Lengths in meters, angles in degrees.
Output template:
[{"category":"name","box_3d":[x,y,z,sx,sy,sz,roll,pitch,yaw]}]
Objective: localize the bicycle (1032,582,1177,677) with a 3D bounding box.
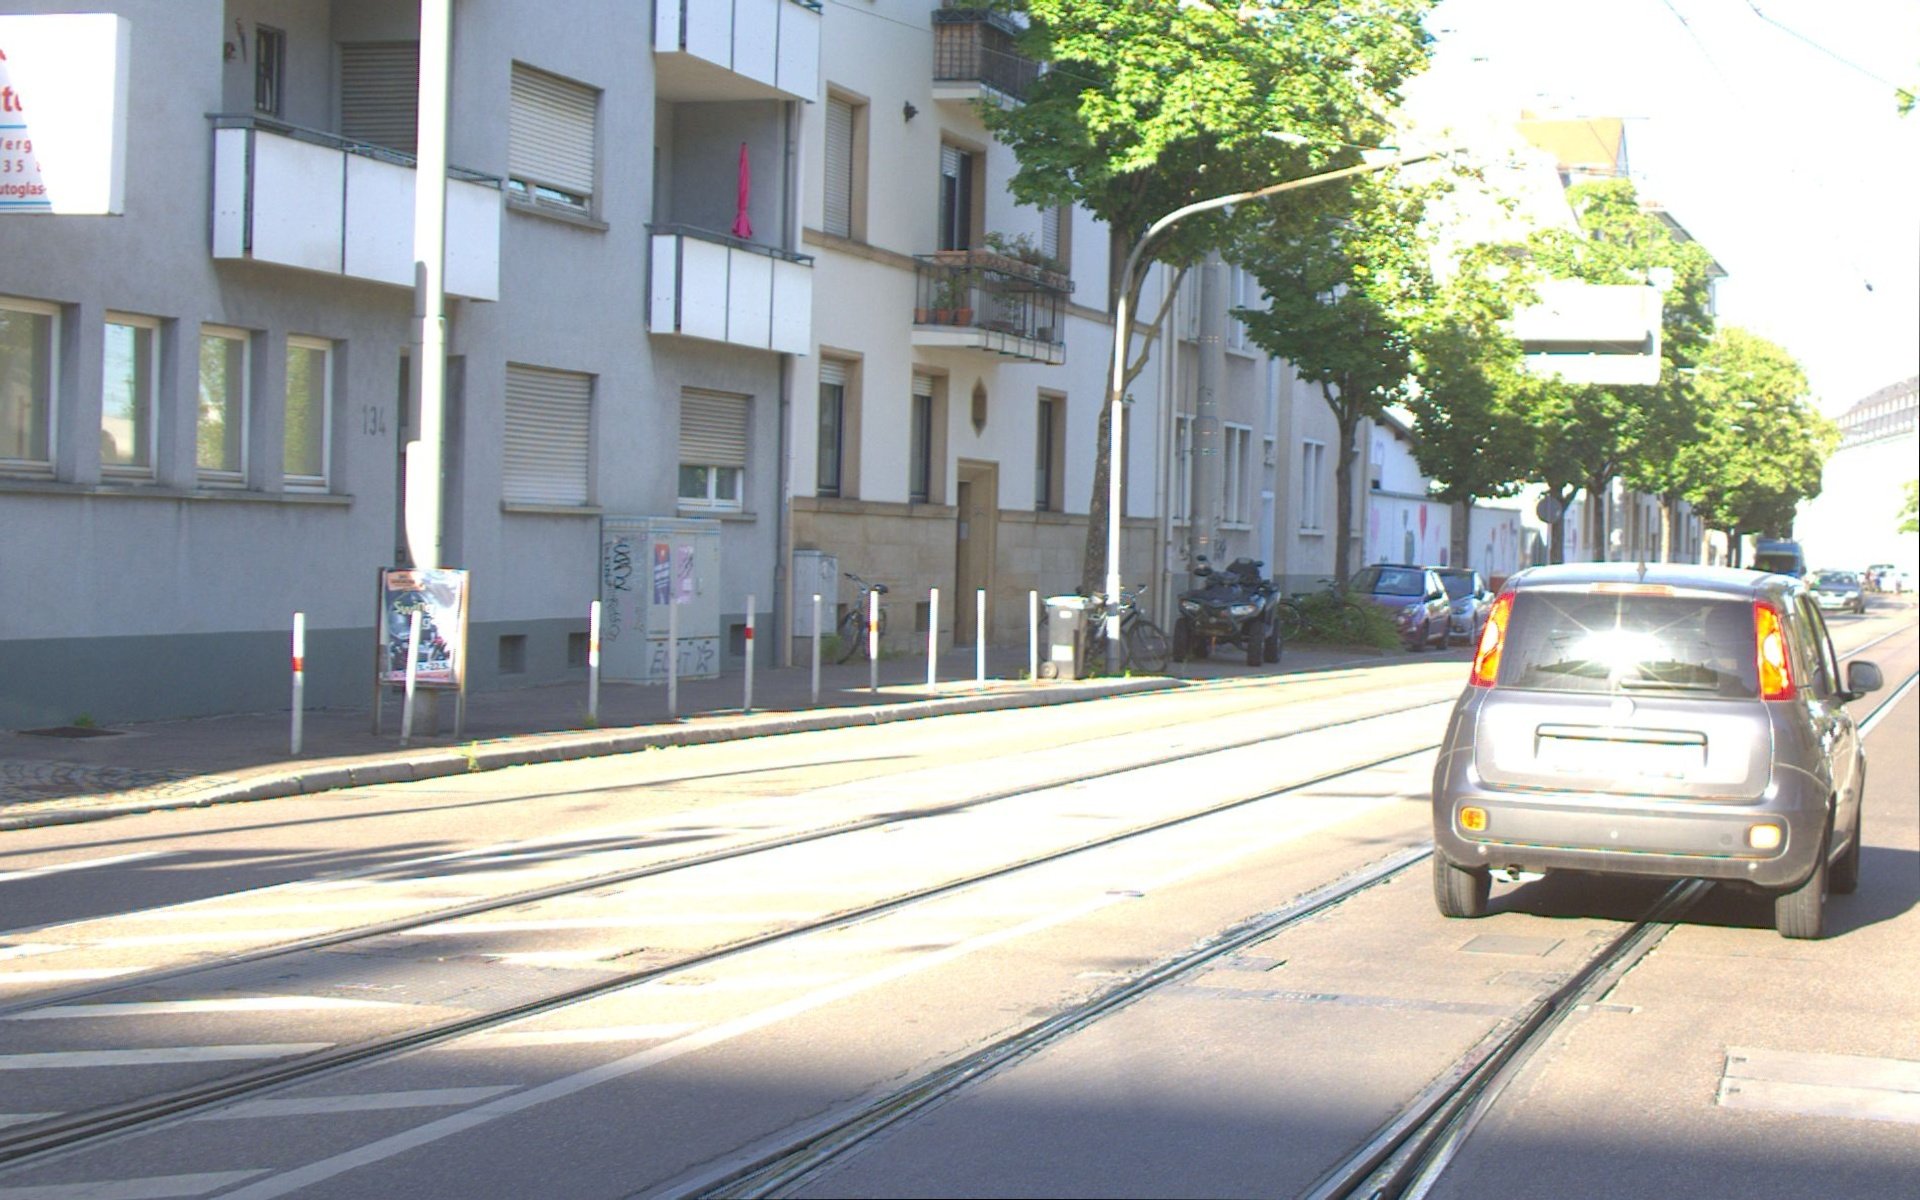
[{"category":"bicycle","box_3d":[1.709,0.351,40.791,1.607,1.041,0.458,3,0,-14]}]

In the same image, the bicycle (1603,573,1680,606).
[{"category":"bicycle","box_3d":[20.228,-0.311,102.131,0.788,0.927,2.266,1,1,-37]}]

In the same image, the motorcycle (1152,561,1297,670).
[{"category":"motorcycle","box_3d":[3.823,0.201,49.335,1.459,1.476,3.099,1,1,16]}]

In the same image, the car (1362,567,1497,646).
[{"category":"car","box_3d":[8.960,0.099,65.321,1.957,1.415,4.185,1,1,16]}]

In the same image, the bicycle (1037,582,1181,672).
[{"category":"bicycle","box_3d":[1.844,0.332,42.572,1.706,1.030,0.444,3,0,-3]}]

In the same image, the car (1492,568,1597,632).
[{"category":"car","box_3d":[13.655,-0.028,80.094,1.957,1.415,4.185,1,1,16]}]

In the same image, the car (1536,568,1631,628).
[{"category":"car","box_3d":[15.821,-0.070,87.070,1.957,1.415,4.185,1,1,16]}]

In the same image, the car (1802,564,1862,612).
[{"category":"car","box_3d":[29.187,-0.414,114.988,1.782,1.487,4.185,2,1,16]}]

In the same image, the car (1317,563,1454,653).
[{"category":"car","box_3d":[7.493,0.117,60.292,1.799,1.481,3.997,1,1,15]}]

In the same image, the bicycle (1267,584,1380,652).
[{"category":"bicycle","box_3d":[5.980,0.292,56.611,1.744,1.020,0.609,3,0,-2]}]

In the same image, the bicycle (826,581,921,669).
[{"category":"bicycle","box_3d":[-1.019,0.283,41.095,0.507,1.003,2.018,1,1,17]}]

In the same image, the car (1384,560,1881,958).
[{"category":"car","box_3d":[3.149,0.619,15.499,1.732,1.495,3.996,2,0,17]}]

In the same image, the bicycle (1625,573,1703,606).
[{"category":"bicycle","box_3d":[21.029,-0.314,102.790,0.788,0.927,2.325,1,1,-37]}]

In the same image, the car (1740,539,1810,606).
[{"category":"car","box_3d":[32.687,-1.106,137.752,2.335,2.560,5.667,1,1,17]}]
